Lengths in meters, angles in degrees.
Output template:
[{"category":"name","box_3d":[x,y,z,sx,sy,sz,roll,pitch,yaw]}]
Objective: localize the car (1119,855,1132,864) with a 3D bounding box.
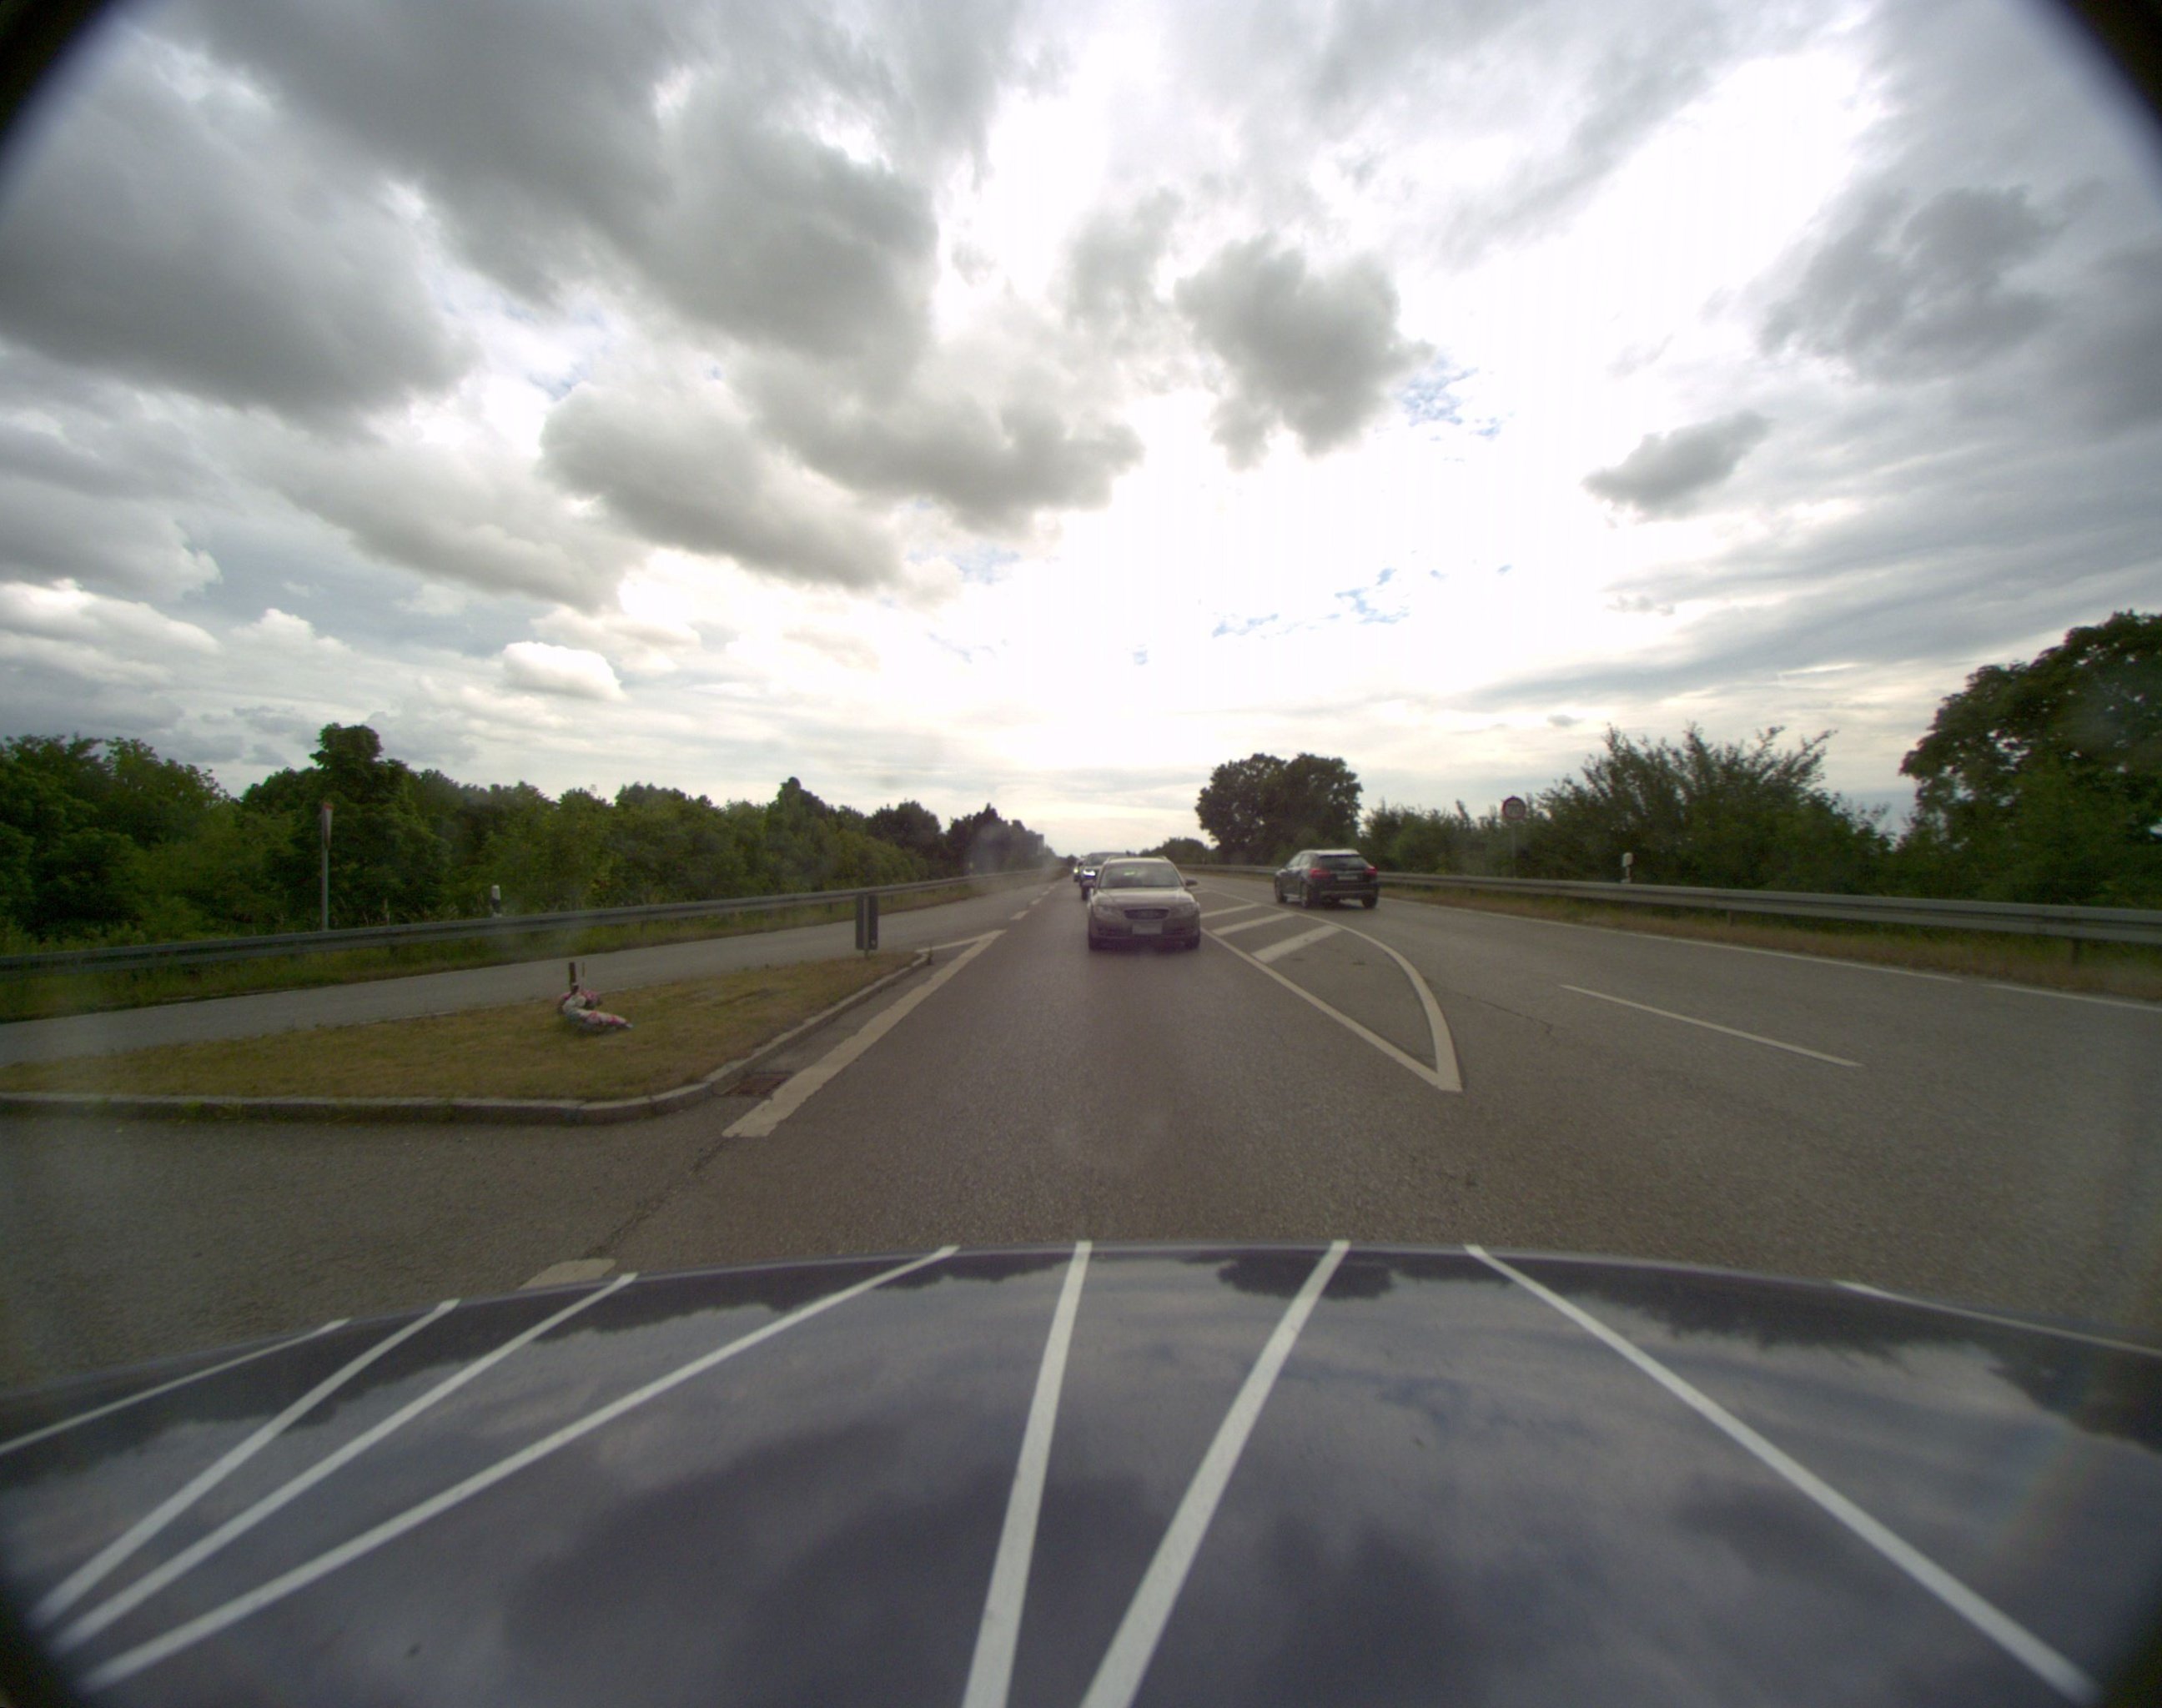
[{"category":"car","box_3d":[7.412,0.910,125.939,1.824,1.366,4.613,-1,0,6]}]

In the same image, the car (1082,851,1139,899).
[{"category":"car","box_3d":[0.987,0.695,26.880,1.834,1.537,4.035,-1,0,1]}]

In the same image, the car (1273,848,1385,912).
[{"category":"car","box_3d":[6.515,0.611,20.390,1.715,1.514,4.000,-1,0,1]}]

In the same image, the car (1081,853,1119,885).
[{"category":"car","box_3d":[0.966,0.759,39.189,1.834,1.537,4.035,-1,0,1]}]

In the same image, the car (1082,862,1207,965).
[{"category":"car","box_3d":[0.948,0.877,13.023,1.784,1.441,4.035,-1,0,1]}]

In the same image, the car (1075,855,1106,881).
[{"category":"car","box_3d":[0.602,0.882,48.803,1.834,1.537,4.035,-1,0,1]}]
